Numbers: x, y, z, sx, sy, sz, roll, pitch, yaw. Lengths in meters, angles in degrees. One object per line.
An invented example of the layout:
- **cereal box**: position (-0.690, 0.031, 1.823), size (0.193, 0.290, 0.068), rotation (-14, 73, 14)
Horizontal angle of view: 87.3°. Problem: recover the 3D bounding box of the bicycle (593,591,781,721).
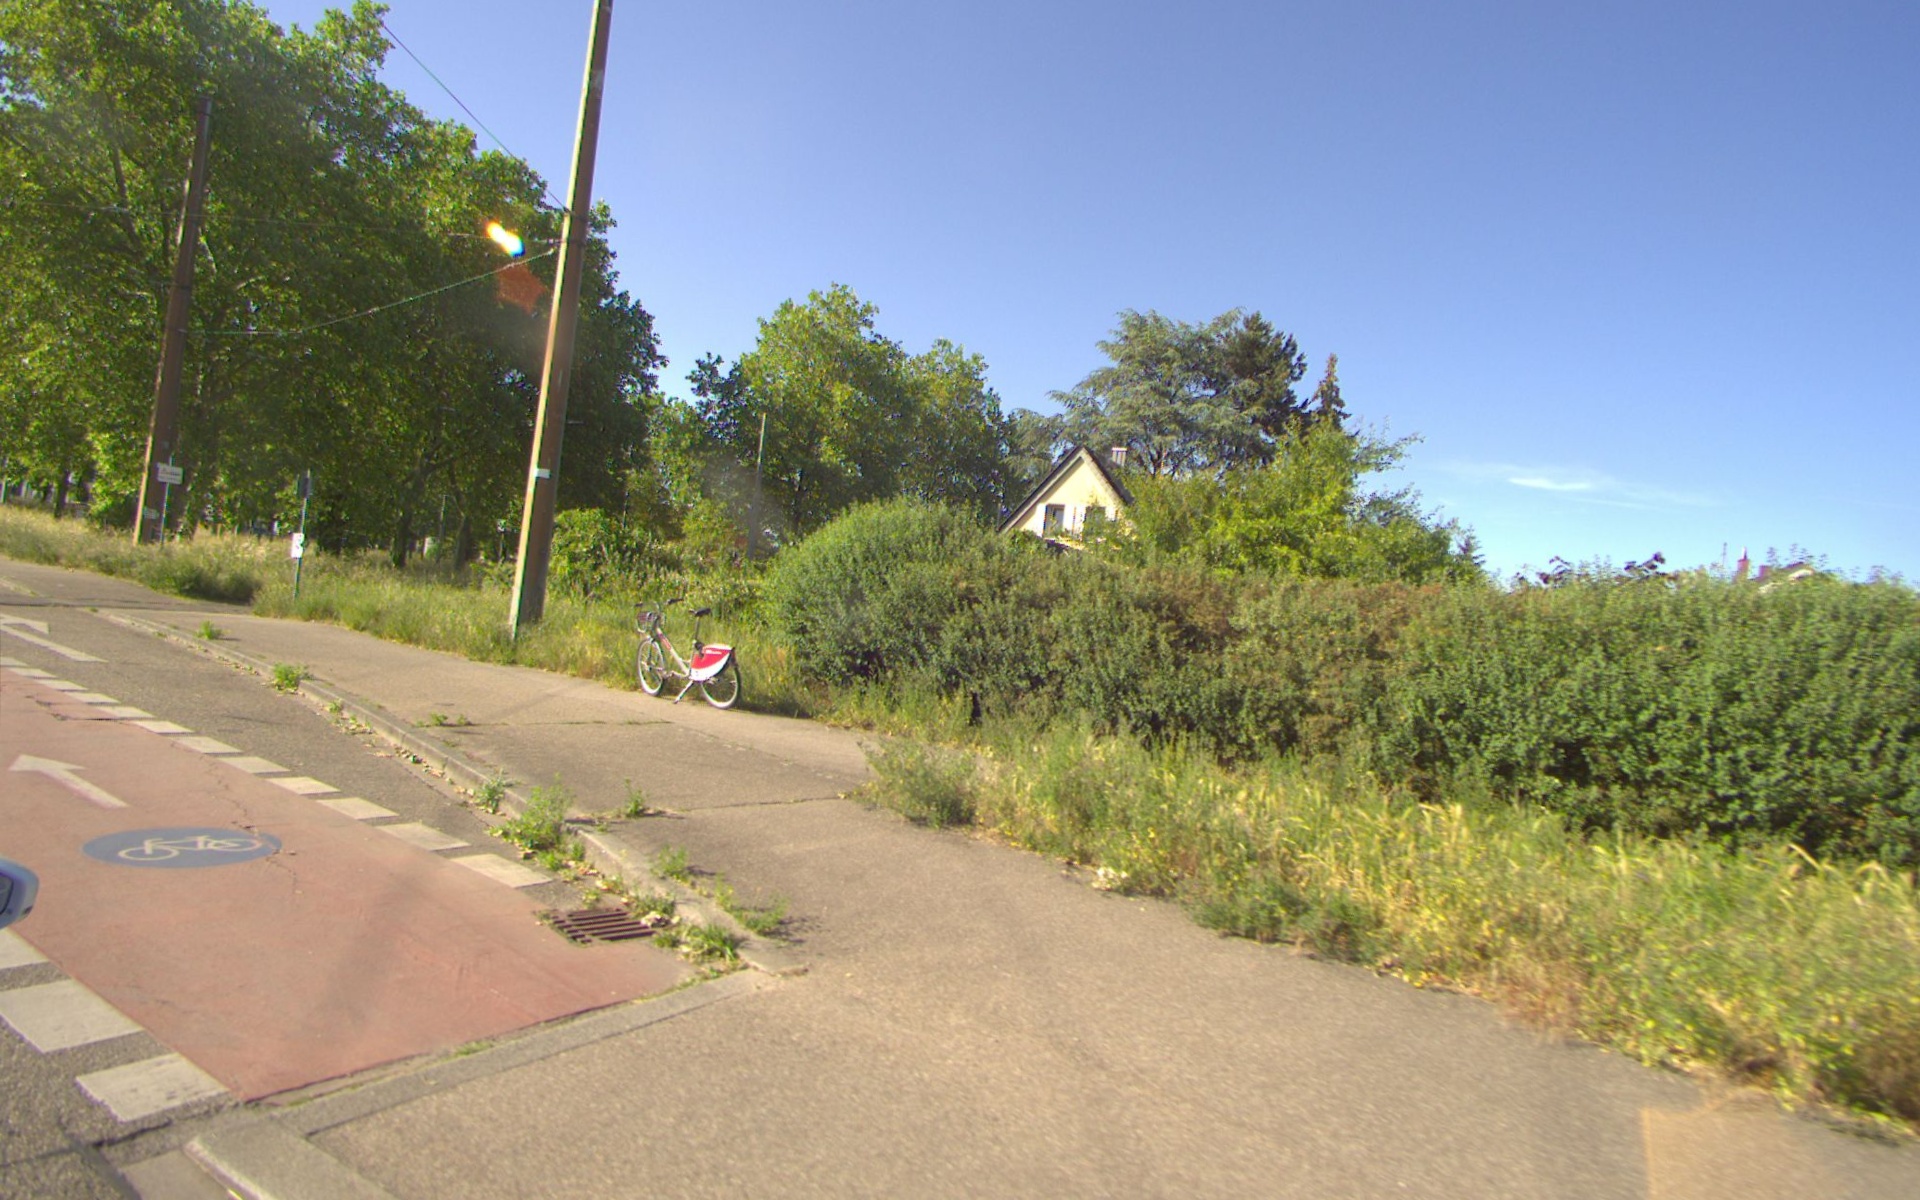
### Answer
- **bicycle**: position (-2.976, 0.579, 10.892), size (2.057, 1.149, 0.366), rotation (6, 0, 22)
